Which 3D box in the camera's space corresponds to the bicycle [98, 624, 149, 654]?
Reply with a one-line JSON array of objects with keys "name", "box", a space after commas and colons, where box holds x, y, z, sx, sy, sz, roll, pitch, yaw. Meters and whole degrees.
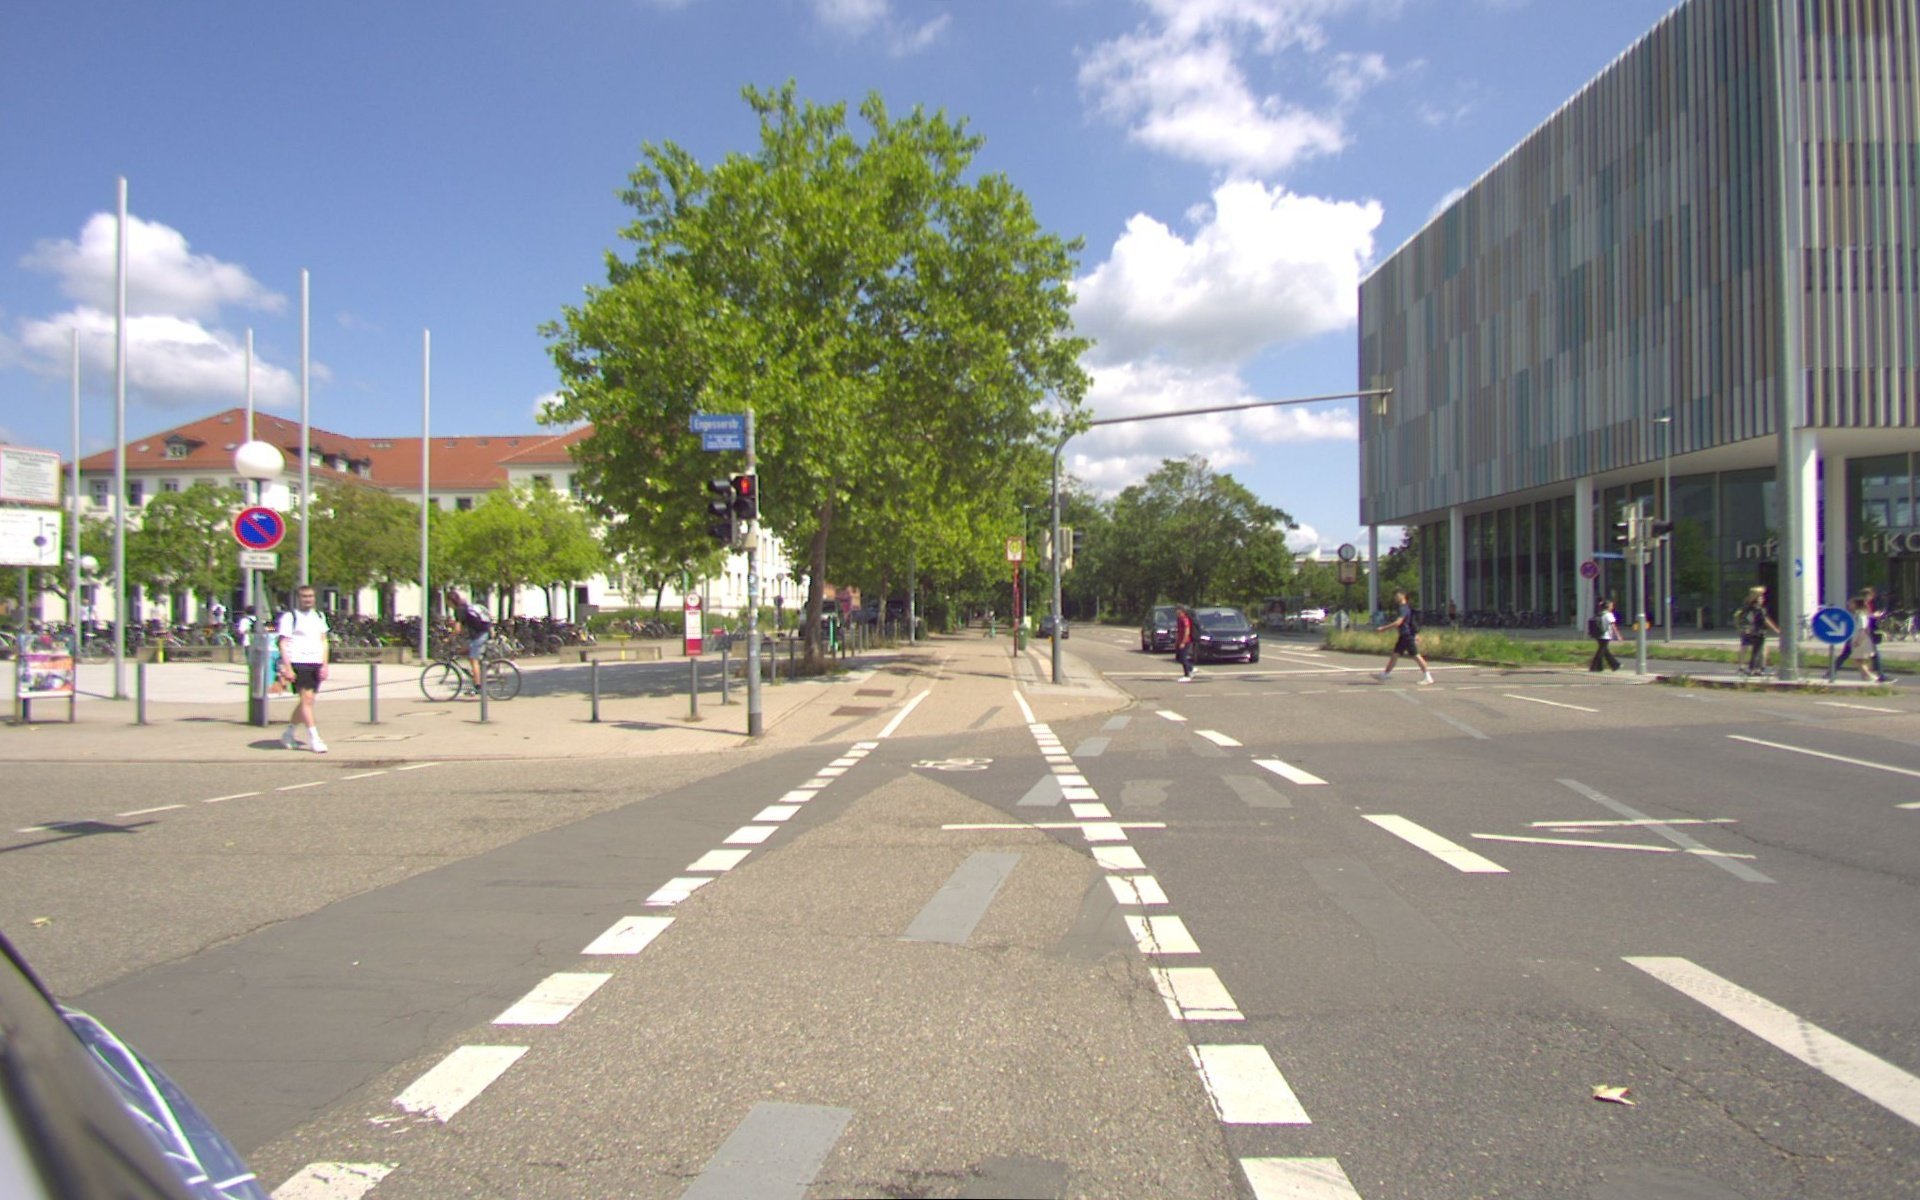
[{"name": "bicycle", "box": [-28.063, 1.305, 33.956, 1.350, 0.958, 0.353, -1, -1, -7]}]

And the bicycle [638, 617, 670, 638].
[{"name": "bicycle", "box": [-14.636, 1.305, 48.365, 1.408, 0.958, 0.352, -1, -1, -1]}]

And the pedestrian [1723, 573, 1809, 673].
[{"name": "pedestrian", "box": [16.154, 0.452, 20.315, 0.865, 1.940, 0.974, -1, -1, -8]}]

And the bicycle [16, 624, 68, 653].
[{"name": "bicycle", "box": [-31.142, 1.302, 34.351, 1.350, 0.958, 0.353, -1, -1, -7]}]

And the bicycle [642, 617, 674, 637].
[{"name": "bicycle", "box": [-14.603, 1.305, 48.945, 1.408, 0.958, 0.352, -1, -1, -1]}]

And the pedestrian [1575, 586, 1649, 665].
[{"name": "pedestrian", "box": [13.877, 0.538, 21.565, 0.866, 1.641, 0.973, -1, -1, -3]}]

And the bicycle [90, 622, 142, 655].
[{"name": "bicycle", "box": [-27.950, 1.275, 33.518, 1.350, 1.082, 0.353, -1, -1, -7]}]

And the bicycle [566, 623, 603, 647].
[{"name": "bicycle", "box": [-14.907, 1.385, 40.162, 1.352, 0.958, 0.352, -1, -1, -1]}]

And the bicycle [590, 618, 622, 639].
[{"name": "bicycle", "box": [-16.651, 1.332, 47.603, 1.408, 0.958, 0.352, -1, -1, -1]}]

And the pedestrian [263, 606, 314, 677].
[{"name": "pedestrian", "box": [-15.841, 0.968, 23.874, 0.831, 1.634, 0.678, -1, 0, 28]}]

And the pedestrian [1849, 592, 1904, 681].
[{"name": "pedestrian", "box": [15.877, 0.622, 17.534, 0.581, 1.515, 0.417, -1, -1, -14]}]

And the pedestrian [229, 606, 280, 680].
[{"name": "pedestrian", "box": [-16.152, 0.972, 23.178, 0.832, 1.634, 0.677, -1, 0, 31]}]

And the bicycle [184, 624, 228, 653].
[{"name": "bicycle", "box": [-25.471, 1.290, 34.194, 1.356, 0.958, 0.351, -1, -1, 8]}]

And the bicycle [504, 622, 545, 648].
[{"name": "bicycle", "box": [-16.638, 1.335, 38.677, 1.392, 0.958, 0.352, -1, -1, -1]}]

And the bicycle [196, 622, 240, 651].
[{"name": "bicycle", "box": [-25.438, 1.251, 34.707, 1.356, 0.958, 0.351, -1, -1, 8]}]

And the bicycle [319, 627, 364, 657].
[{"name": "bicycle", "box": [-20.313, 1.384, 33.220, 1.356, 0.958, 0.351, -1, -1, 8]}]

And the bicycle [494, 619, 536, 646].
[{"name": "bicycle", "box": [-16.484, 1.196, 37.474, 1.392, 0.958, 0.352, -1, -1, -1]}]

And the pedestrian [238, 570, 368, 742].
[{"name": "pedestrian", "box": [-7.567, 0.626, 11.700, 0.867, 1.886, 0.972, -1, -1, 0]}]

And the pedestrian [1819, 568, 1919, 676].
[{"name": "pedestrian", "box": [16.923, 0.399, 18.776, 1.097, 1.940, 0.969, -1, -1, 9]}]

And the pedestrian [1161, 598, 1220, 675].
[{"name": "pedestrian", "box": [5.021, 0.786, 22.078, 1.049, 1.610, 0.971, -1, -1, 2]}]

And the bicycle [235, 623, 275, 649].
[{"name": "bicycle", "box": [-26.382, 1.348, 37.871, 1.356, 0.958, 0.351, -1, -1, 8]}]

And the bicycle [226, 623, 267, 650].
[{"name": "bicycle", "box": [-25.925, 1.322, 36.781, 1.356, 0.958, 0.351, -1, -1, 8]}]

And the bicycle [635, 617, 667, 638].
[{"name": "bicycle", "box": [-14.596, 1.305, 47.852, 1.408, 0.958, 0.352, -1, -1, -1]}]

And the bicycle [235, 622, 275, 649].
[{"name": "bicycle", "box": [-26.017, 1.316, 37.343, 1.356, 0.958, 0.351, -1, -1, 8]}]

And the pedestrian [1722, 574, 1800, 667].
[{"name": "pedestrian", "box": [17.215, 0.437, 21.769, 0.867, 1.940, 0.971, -1, -1, 2]}]

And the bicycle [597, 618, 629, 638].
[{"name": "bicycle", "box": [-16.549, 1.330, 48.264, 1.408, 0.958, 0.352, -1, -1, -1]}]

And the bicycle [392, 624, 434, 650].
[{"name": "bicycle", "box": [-20.391, 1.384, 37.722, 1.351, 0.958, 0.352, -1, -1, -4]}]

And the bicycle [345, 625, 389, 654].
[{"name": "bicycle", "box": [-20.044, 1.348, 34.196, 1.356, 0.958, 0.351, -1, -1, 8]}]

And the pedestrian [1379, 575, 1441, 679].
[{"name": "pedestrian", "box": [8.693, 0.515, 19.530, 1.026, 1.940, 0.964, -1, -1, 25]}]

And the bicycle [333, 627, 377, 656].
[{"name": "bicycle", "box": [-20.106, 1.381, 33.639, 1.356, 0.958, 0.351, -1, -1, 8]}]

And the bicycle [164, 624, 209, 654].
[{"name": "bicycle", "box": [-25.619, 1.295, 33.532, 1.356, 0.958, 0.351, -1, -1, 8]}]

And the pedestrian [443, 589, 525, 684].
[{"name": "pedestrian", "box": [-9.720, 0.737, 20.678, 1.304, 1.863, 0.700, -2, -1, 3]}]

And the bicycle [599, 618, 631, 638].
[{"name": "bicycle", "box": [-16.577, 1.331, 48.679, 1.408, 0.958, 0.352, -1, -1, -1]}]
